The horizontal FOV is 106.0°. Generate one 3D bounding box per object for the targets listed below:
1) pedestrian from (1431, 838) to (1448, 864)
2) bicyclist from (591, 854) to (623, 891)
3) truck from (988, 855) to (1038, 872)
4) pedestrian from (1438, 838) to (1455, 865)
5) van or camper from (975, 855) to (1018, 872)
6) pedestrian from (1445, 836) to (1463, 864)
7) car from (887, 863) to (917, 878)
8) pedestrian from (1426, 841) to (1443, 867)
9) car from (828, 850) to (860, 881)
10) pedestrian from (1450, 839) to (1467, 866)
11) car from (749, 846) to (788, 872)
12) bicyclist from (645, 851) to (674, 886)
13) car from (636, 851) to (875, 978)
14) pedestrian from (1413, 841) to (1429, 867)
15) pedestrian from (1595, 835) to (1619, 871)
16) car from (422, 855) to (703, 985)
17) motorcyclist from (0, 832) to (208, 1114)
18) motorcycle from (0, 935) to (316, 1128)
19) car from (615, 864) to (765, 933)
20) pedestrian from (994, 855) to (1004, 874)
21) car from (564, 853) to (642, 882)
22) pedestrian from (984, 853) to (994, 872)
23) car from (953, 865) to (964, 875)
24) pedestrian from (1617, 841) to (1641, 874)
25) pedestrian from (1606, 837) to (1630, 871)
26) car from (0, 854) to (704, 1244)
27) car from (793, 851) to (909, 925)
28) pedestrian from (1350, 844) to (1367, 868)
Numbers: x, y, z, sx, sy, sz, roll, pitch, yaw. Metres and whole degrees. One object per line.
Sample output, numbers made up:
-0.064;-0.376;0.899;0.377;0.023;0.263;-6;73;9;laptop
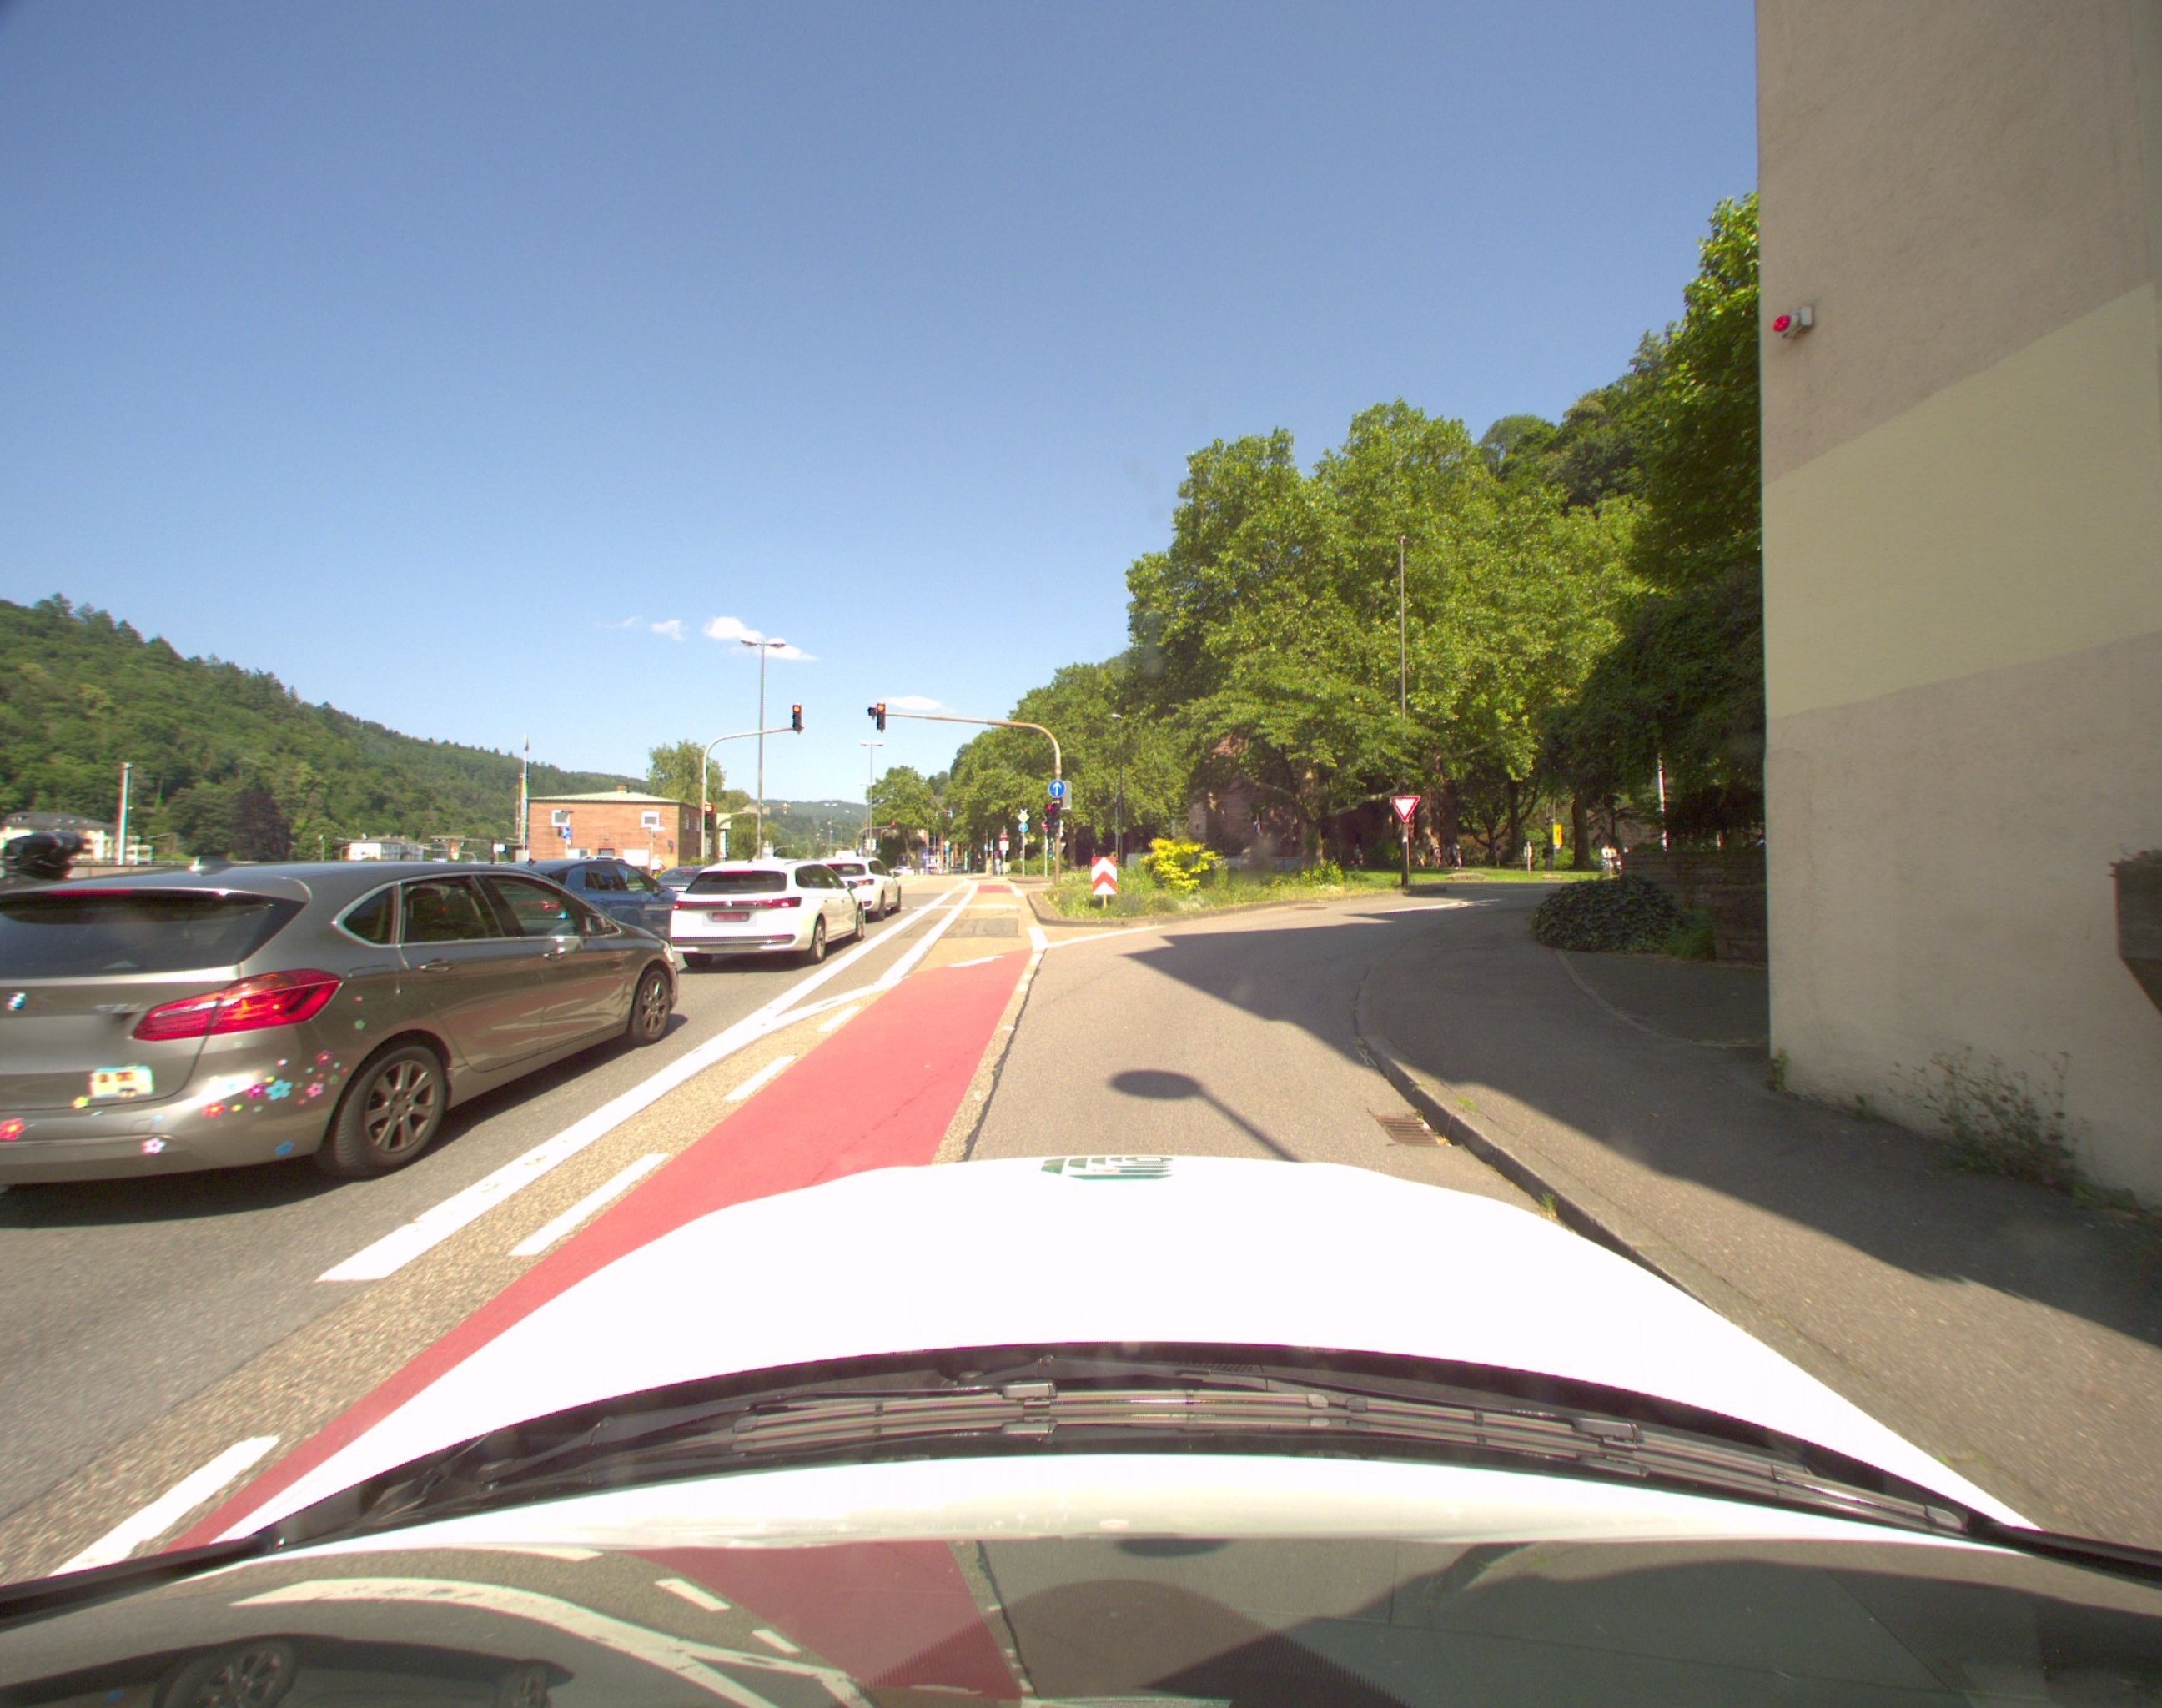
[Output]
24.255;-0.191;55.090;0.792;1.756;0.663;1;-1;-10;pedestrian
-26.411;1.005;45.426;1.213;2.013;1.114;-2;0;-13;bicyclist
-8.476;1.135;101.557;6.190;2.013;2.178;-1;0;34;truck
24.159;-0.189;53.792;0.792;1.756;0.663;1;-1;-10;pedestrian
-9.922;1.091;95.990;4.510;1.902;2.007;-2;0;13;van or camper
23.416;-0.245;51.122;0.792;1.756;0.720;1;-1;-10;pedestrian
-25.899;2.352;117.649;3.948;2.013;1.955;-1;0;31;car
24.740;0.011;56.993;0.792;1.756;0.663;1;-1;-10;pedestrian
-21.068;0.983;72.220;2.391;2.576;6.016;-1;0;-19;car
25.301;-0.085;54.538;0.792;1.756;0.663;1;-1;-10;pedestrian
-26.717;0.396;69.762;2.215;2.078;5.024;-1;1;-11;car
-24.939;0.844;48.187;1.213;2.013;1.114;-1;0;-13;bicyclist
-4.706;0.745;12.694;1.989;1.533;4.852;-1;0;-3;car
23.699;-0.004;56.768;0.792;1.756;0.663;1;-1;-10;pedestrian
26.734;-0.050;41.369;0.767;1.756;0.754;-1;0;-33;pedestrian
-7.483;0.830;12.307;1.863;1.562;3.994;-1;0;-4;car
-6.984;0.721;5.411;1.073;1.684;1.155;-1;0;-3;motorcyclist
-6.952;1.166;5.567;1.035;0.919;2.602;-1;0;-2;motorcycle
-9.114;0.972;19.382;1.863;1.359;3.994;-1;0;-4;car
-7.450;0.916;73.994;0.758;1.708;0.878;-2;0;3;pedestrian
-35.893;0.989;61.223;1.975;2.013;4.645;-1;0;45;car
-8.341;0.745;73.943;0.758;1.719;0.795;-2;0;3;pedestrian
-20.071;2.624;133.035;1.731;1.514;3.611;-2;0;-9;car
28.911;0.182;42.965;0.792;1.756;0.663;1;-1;-10;pedestrian
28.073;0.020;42.578;0.792;1.756;0.663;1;0;-10;pedestrian
-4.357;0.781;5.353;1.884;1.521;4.301;-1;0;-2;car
-5.431;0.736;19.841;1.782;1.532;4.729;-2;0;-5;car
20.647;0.139;60.633;0.792;1.782;0.873;-2;0;-10;pedestrian
